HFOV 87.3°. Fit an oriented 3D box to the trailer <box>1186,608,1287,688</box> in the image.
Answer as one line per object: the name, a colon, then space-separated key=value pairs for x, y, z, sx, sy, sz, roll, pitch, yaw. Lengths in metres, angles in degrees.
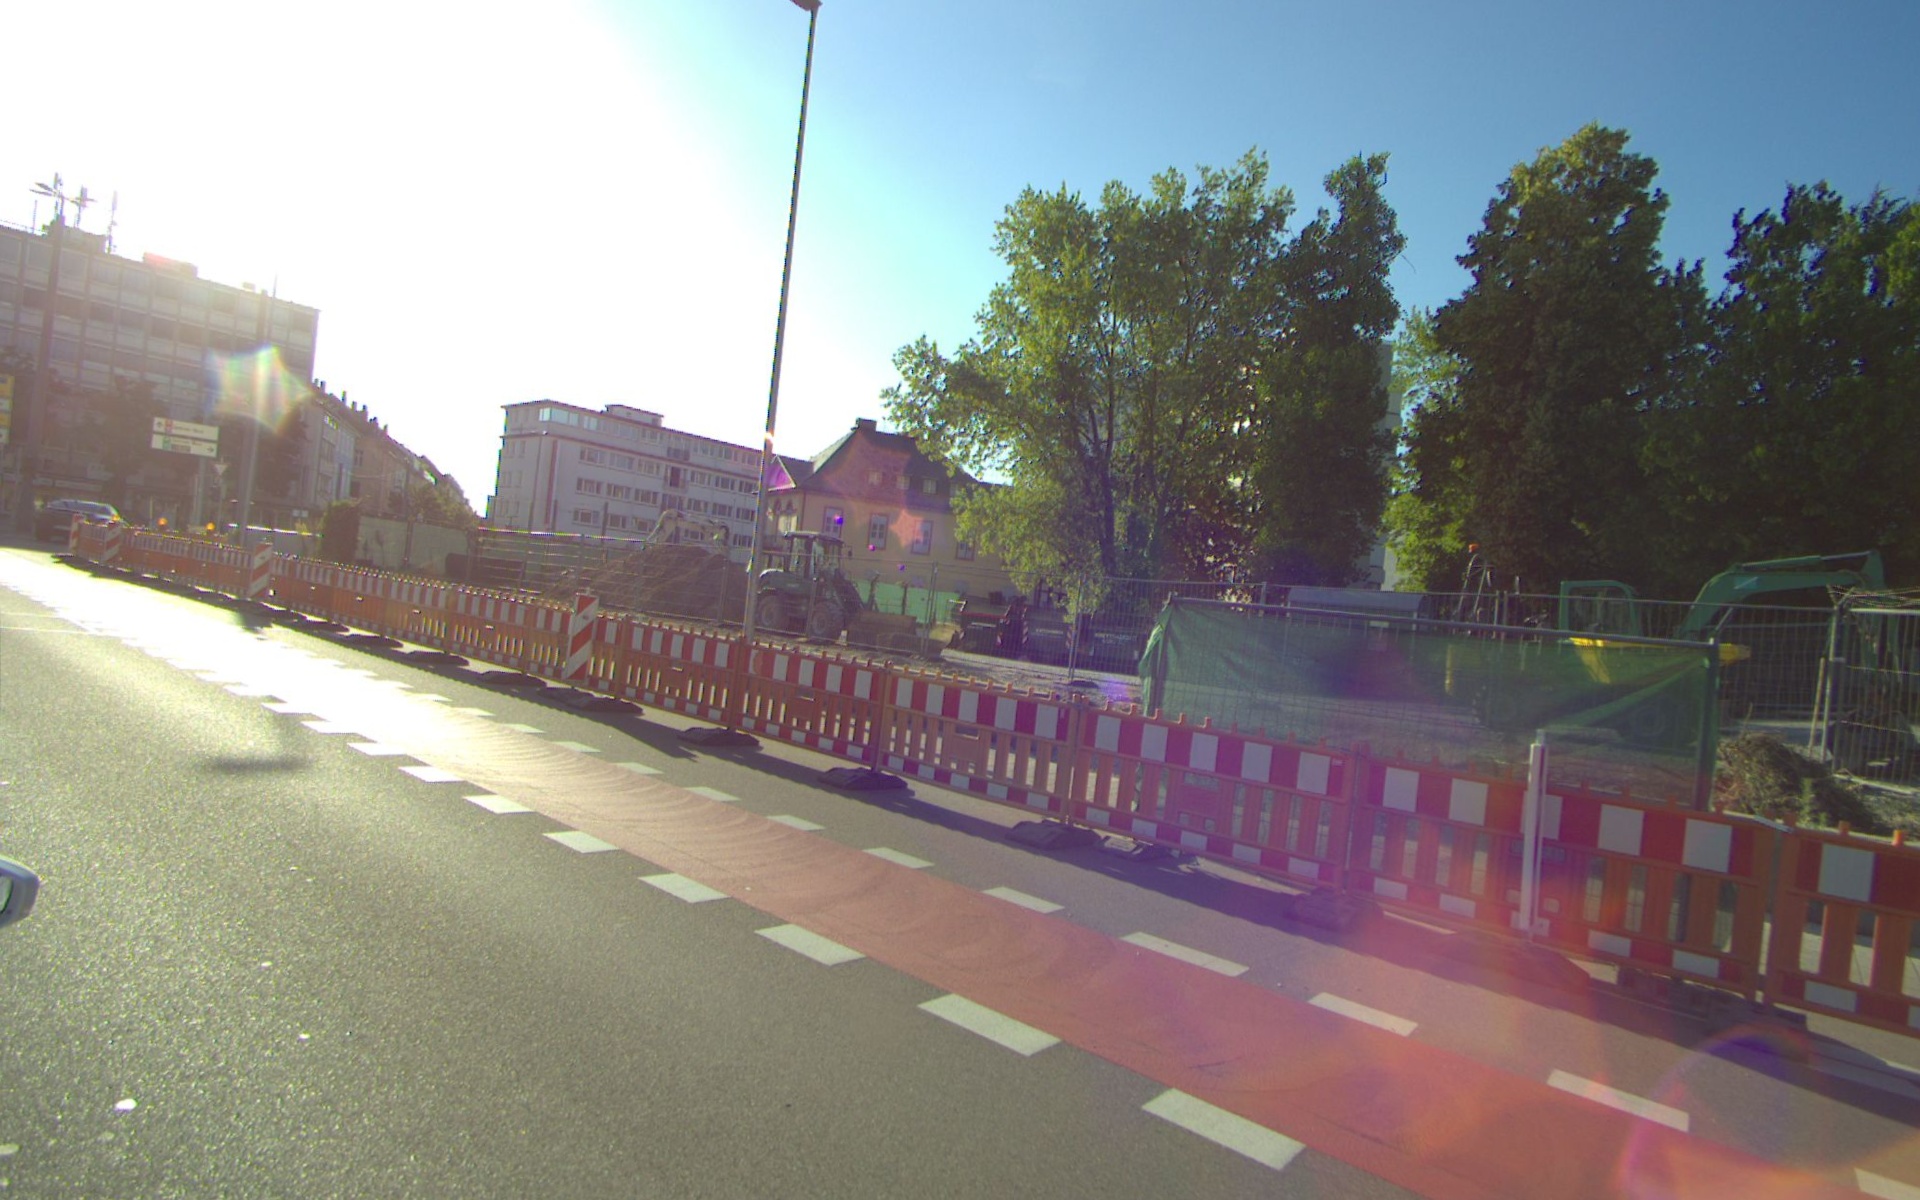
trailer: x=8.740 y=1.538 z=31.681 sx=2.191 sy=2.349 sz=2.947 roll=0 pitch=-3 yaw=35

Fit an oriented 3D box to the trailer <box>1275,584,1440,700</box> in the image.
trailer: x=11.577 y=1.221 z=29.284 sx=3.927 sy=3.126 sz=2.609 roll=0 pitch=-3 yaw=35

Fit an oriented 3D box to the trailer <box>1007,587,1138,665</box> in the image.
trailer: x=3.871 y=0.942 z=33.790 sx=2.191 sy=2.349 sz=5.032 roll=0 pitch=-4 yaw=35

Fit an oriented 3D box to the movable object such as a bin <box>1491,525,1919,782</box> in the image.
movable object such as a bin: x=12.588 y=0.736 z=17.264 sx=5.425 sy=3.601 sz=2.271 roll=7 pitch=0 yaw=43

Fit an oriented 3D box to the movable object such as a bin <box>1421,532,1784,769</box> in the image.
movable object such as a bin: x=9.418 y=0.637 z=14.949 sx=1.988 sy=2.940 sz=3.949 roll=6 pitch=0 yaw=-44

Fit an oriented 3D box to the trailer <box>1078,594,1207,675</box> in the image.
trailer: x=6.022 y=1.184 z=32.702 sx=2.191 sy=2.349 sz=5.032 roll=0 pitch=-4 yaw=35

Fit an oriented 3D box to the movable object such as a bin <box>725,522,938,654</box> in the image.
movable object such as a bin: x=-3.279 y=-0.339 z=25.118 sx=4.869 sy=2.737 sz=2.274 roll=7 pitch=0 yaw=38

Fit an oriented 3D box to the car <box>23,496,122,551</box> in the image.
car: x=-34.485 y=-2.958 z=39.203 sx=1.980 sy=1.713 sz=3.968 roll=9 pitch=-1 yaw=-30

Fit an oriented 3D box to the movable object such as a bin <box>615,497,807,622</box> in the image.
movable object such as a bin: x=-9.007 y=-1.386 z=36.447 sx=6.007 sy=3.601 sz=2.843 roll=7 pitch=0 yaw=-27

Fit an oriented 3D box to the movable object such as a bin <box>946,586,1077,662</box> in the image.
movable object such as a bin: x=1.876 y=0.913 z=35.037 sx=2.191 sy=2.349 sz=5.032 roll=0 pitch=-4 yaw=35
